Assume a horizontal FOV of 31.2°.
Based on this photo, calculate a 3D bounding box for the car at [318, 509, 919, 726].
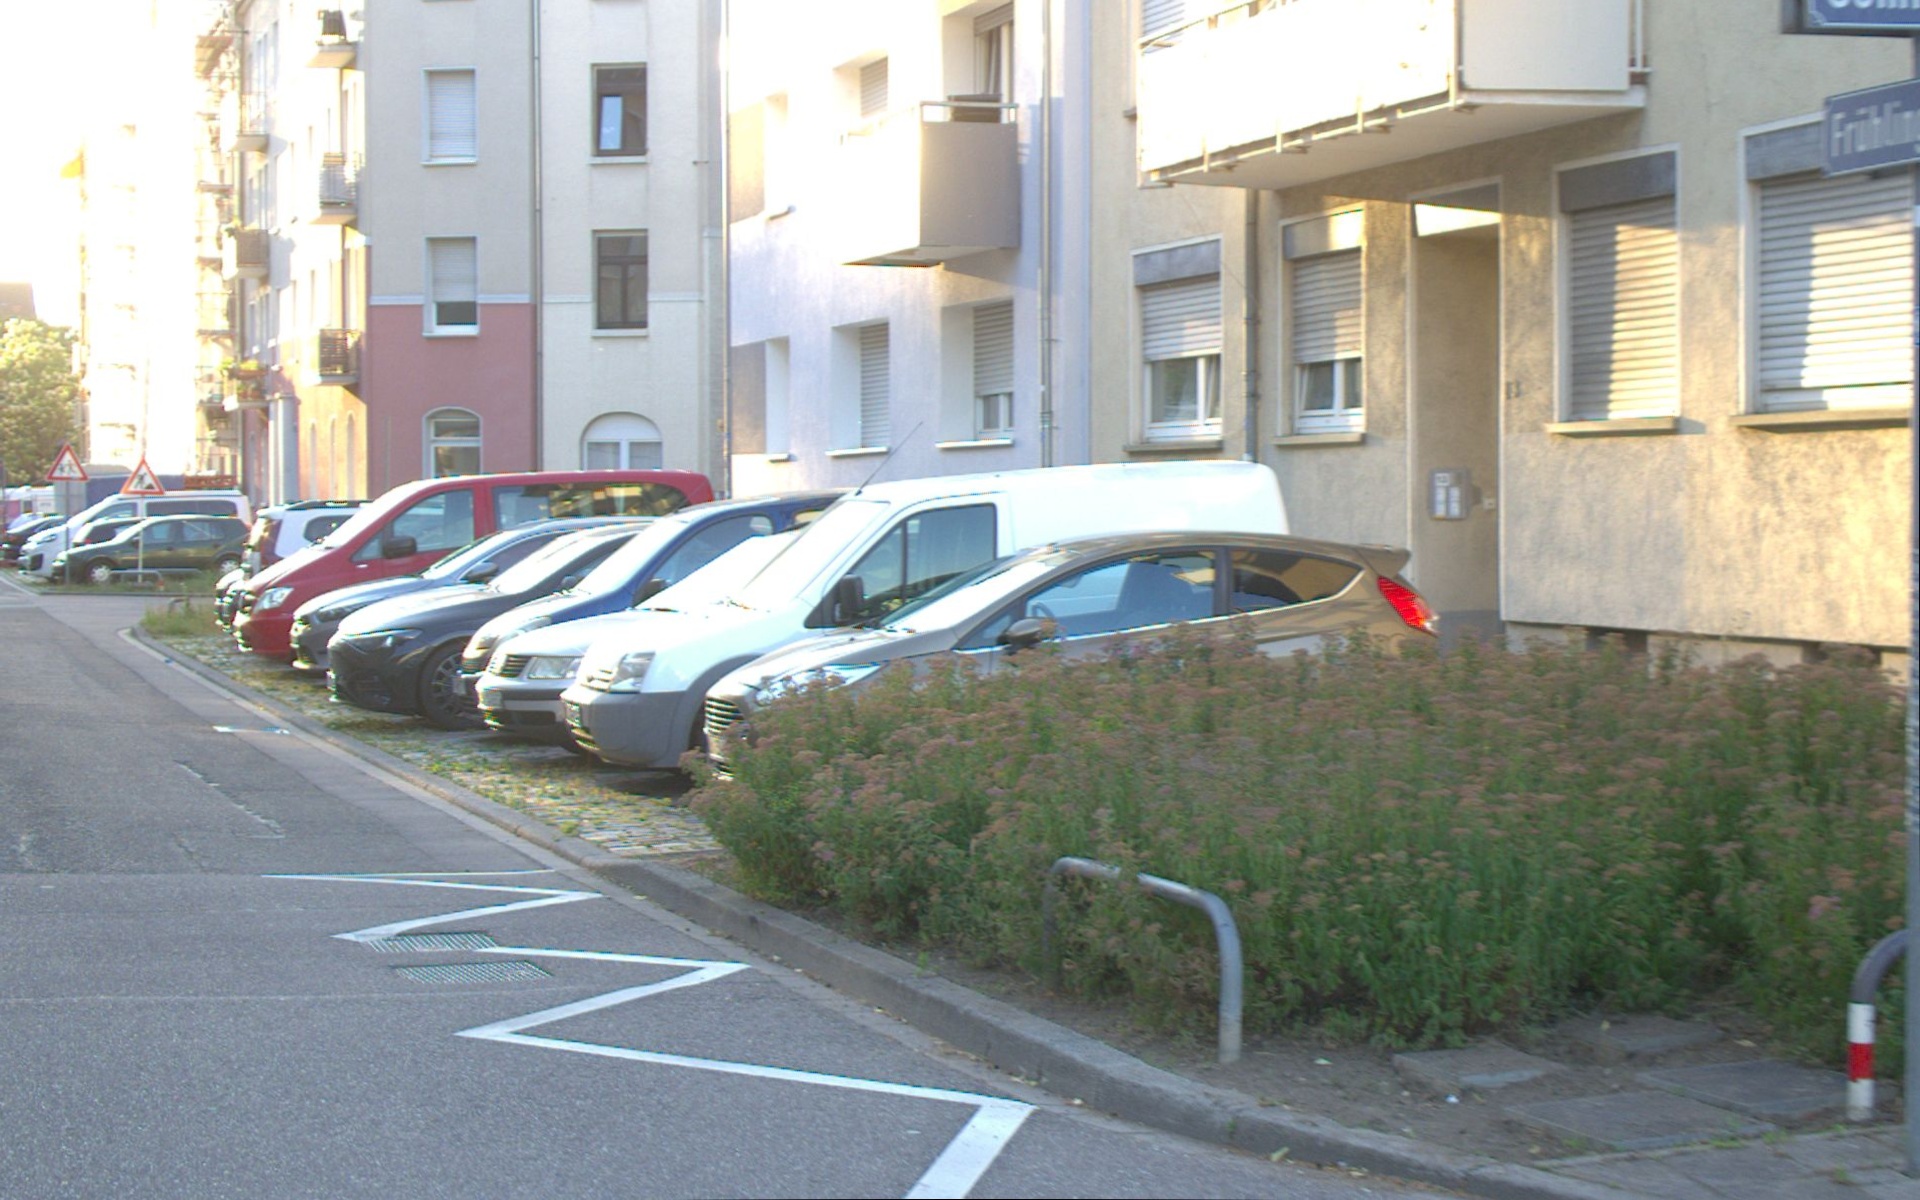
[{"bbox_3d":[-2.638,0.089,26.429,4.307,1.444,1.656,-2,2,-17],"label":"car"}]

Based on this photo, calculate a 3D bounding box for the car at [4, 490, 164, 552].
[{"bbox_3d":[-23.305,-2.125,91.462,3.986,1.525,1.659,-2,2,-18],"label":"car"}]

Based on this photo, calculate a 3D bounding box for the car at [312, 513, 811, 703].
[{"bbox_3d":[-3.369,0.030,29.007,3.874,1.411,1.637,-2,2,-19],"label":"car"}]

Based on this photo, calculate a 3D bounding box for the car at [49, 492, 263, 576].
[{"bbox_3d":[-16.052,-1.334,68.613,3.986,1.525,1.659,-2,2,-18],"label":"car"}]

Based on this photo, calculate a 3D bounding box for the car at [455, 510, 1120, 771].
[{"bbox_3d":[-1.131,0.209,22.132,3.954,1.517,1.706,-1,2,-17],"label":"car"}]

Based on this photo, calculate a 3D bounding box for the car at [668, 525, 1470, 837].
[{"bbox_3d":[0.547,0.365,18.156,3.871,1.487,1.742,-1,2,-17],"label":"car"}]

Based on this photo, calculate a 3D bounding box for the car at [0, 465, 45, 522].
[{"bbox_3d":[-41.785,-4.522,147.356,4.812,2.399,1.739,-2,2,-18],"label":"car"}]

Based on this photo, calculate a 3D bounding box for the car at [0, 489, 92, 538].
[{"bbox_3d":[-30.238,-2.798,111.316,3.986,1.525,1.659,-2,2,-18],"label":"car"}]

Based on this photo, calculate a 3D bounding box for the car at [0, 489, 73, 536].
[{"bbox_3d":[-31.834,-2.925,115.173,3.986,1.525,1.659,-2,2,-18],"label":"car"}]

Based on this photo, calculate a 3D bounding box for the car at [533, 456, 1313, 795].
[{"bbox_3d":[-0.238,0.100,20.300,4.278,1.854,1.742,-1,1,-17],"label":"car"}]

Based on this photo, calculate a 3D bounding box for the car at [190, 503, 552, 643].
[{"bbox_3d":[-6.713,-0.328,39.126,3.810,1.423,1.635,-2,2,-18],"label":"car"}]

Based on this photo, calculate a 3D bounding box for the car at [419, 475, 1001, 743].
[{"bbox_3d":[-1.793,0.024,24.379,3.790,1.689,1.656,-2,2,-17],"label":"car"}]

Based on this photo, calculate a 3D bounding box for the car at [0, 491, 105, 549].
[{"bbox_3d":[-25.841,-2.205,95.335,3.986,1.525,1.659,-2,2,-18],"label":"car"}]

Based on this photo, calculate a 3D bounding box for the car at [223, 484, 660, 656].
[{"bbox_3d":[-5.545,-0.353,36.699,4.323,1.631,1.819,-2,2,-18],"label":"car"}]

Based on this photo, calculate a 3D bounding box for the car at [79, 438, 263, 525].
[{"bbox_3d":[-18.709,-2.814,81.526,3.986,2.006,2.001,-1,2,-21],"label":"car"}]

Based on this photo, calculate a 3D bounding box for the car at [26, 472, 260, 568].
[{"bbox_3d":[-17.904,-1.777,75.298,4.812,1.961,1.739,-2,2,-18],"label":"car"}]

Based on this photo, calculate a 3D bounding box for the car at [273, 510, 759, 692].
[{"bbox_3d":[-4.086,-0.025,31.574,4.144,1.466,1.637,-2,2,-18],"label":"car"}]

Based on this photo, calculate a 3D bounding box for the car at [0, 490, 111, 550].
[{"bbox_3d":[-25.203,-2.174,93.472,3.986,1.525,1.659,-2,2,-18],"label":"car"}]

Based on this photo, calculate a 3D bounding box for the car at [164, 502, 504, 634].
[{"bbox_3d":[-7.563,-0.408,41.495,3.810,1.423,1.635,-2,2,-18],"label":"car"}]

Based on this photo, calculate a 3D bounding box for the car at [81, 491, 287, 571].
[{"bbox_3d":[-16.040,-1.436,71.047,3.986,1.525,1.659,-2,2,-18],"label":"car"}]

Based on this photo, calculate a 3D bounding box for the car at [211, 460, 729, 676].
[{"bbox_3d":[-4.864,-0.354,33.989,4.721,1.902,2.060,-2,2,-18],"label":"car"}]
